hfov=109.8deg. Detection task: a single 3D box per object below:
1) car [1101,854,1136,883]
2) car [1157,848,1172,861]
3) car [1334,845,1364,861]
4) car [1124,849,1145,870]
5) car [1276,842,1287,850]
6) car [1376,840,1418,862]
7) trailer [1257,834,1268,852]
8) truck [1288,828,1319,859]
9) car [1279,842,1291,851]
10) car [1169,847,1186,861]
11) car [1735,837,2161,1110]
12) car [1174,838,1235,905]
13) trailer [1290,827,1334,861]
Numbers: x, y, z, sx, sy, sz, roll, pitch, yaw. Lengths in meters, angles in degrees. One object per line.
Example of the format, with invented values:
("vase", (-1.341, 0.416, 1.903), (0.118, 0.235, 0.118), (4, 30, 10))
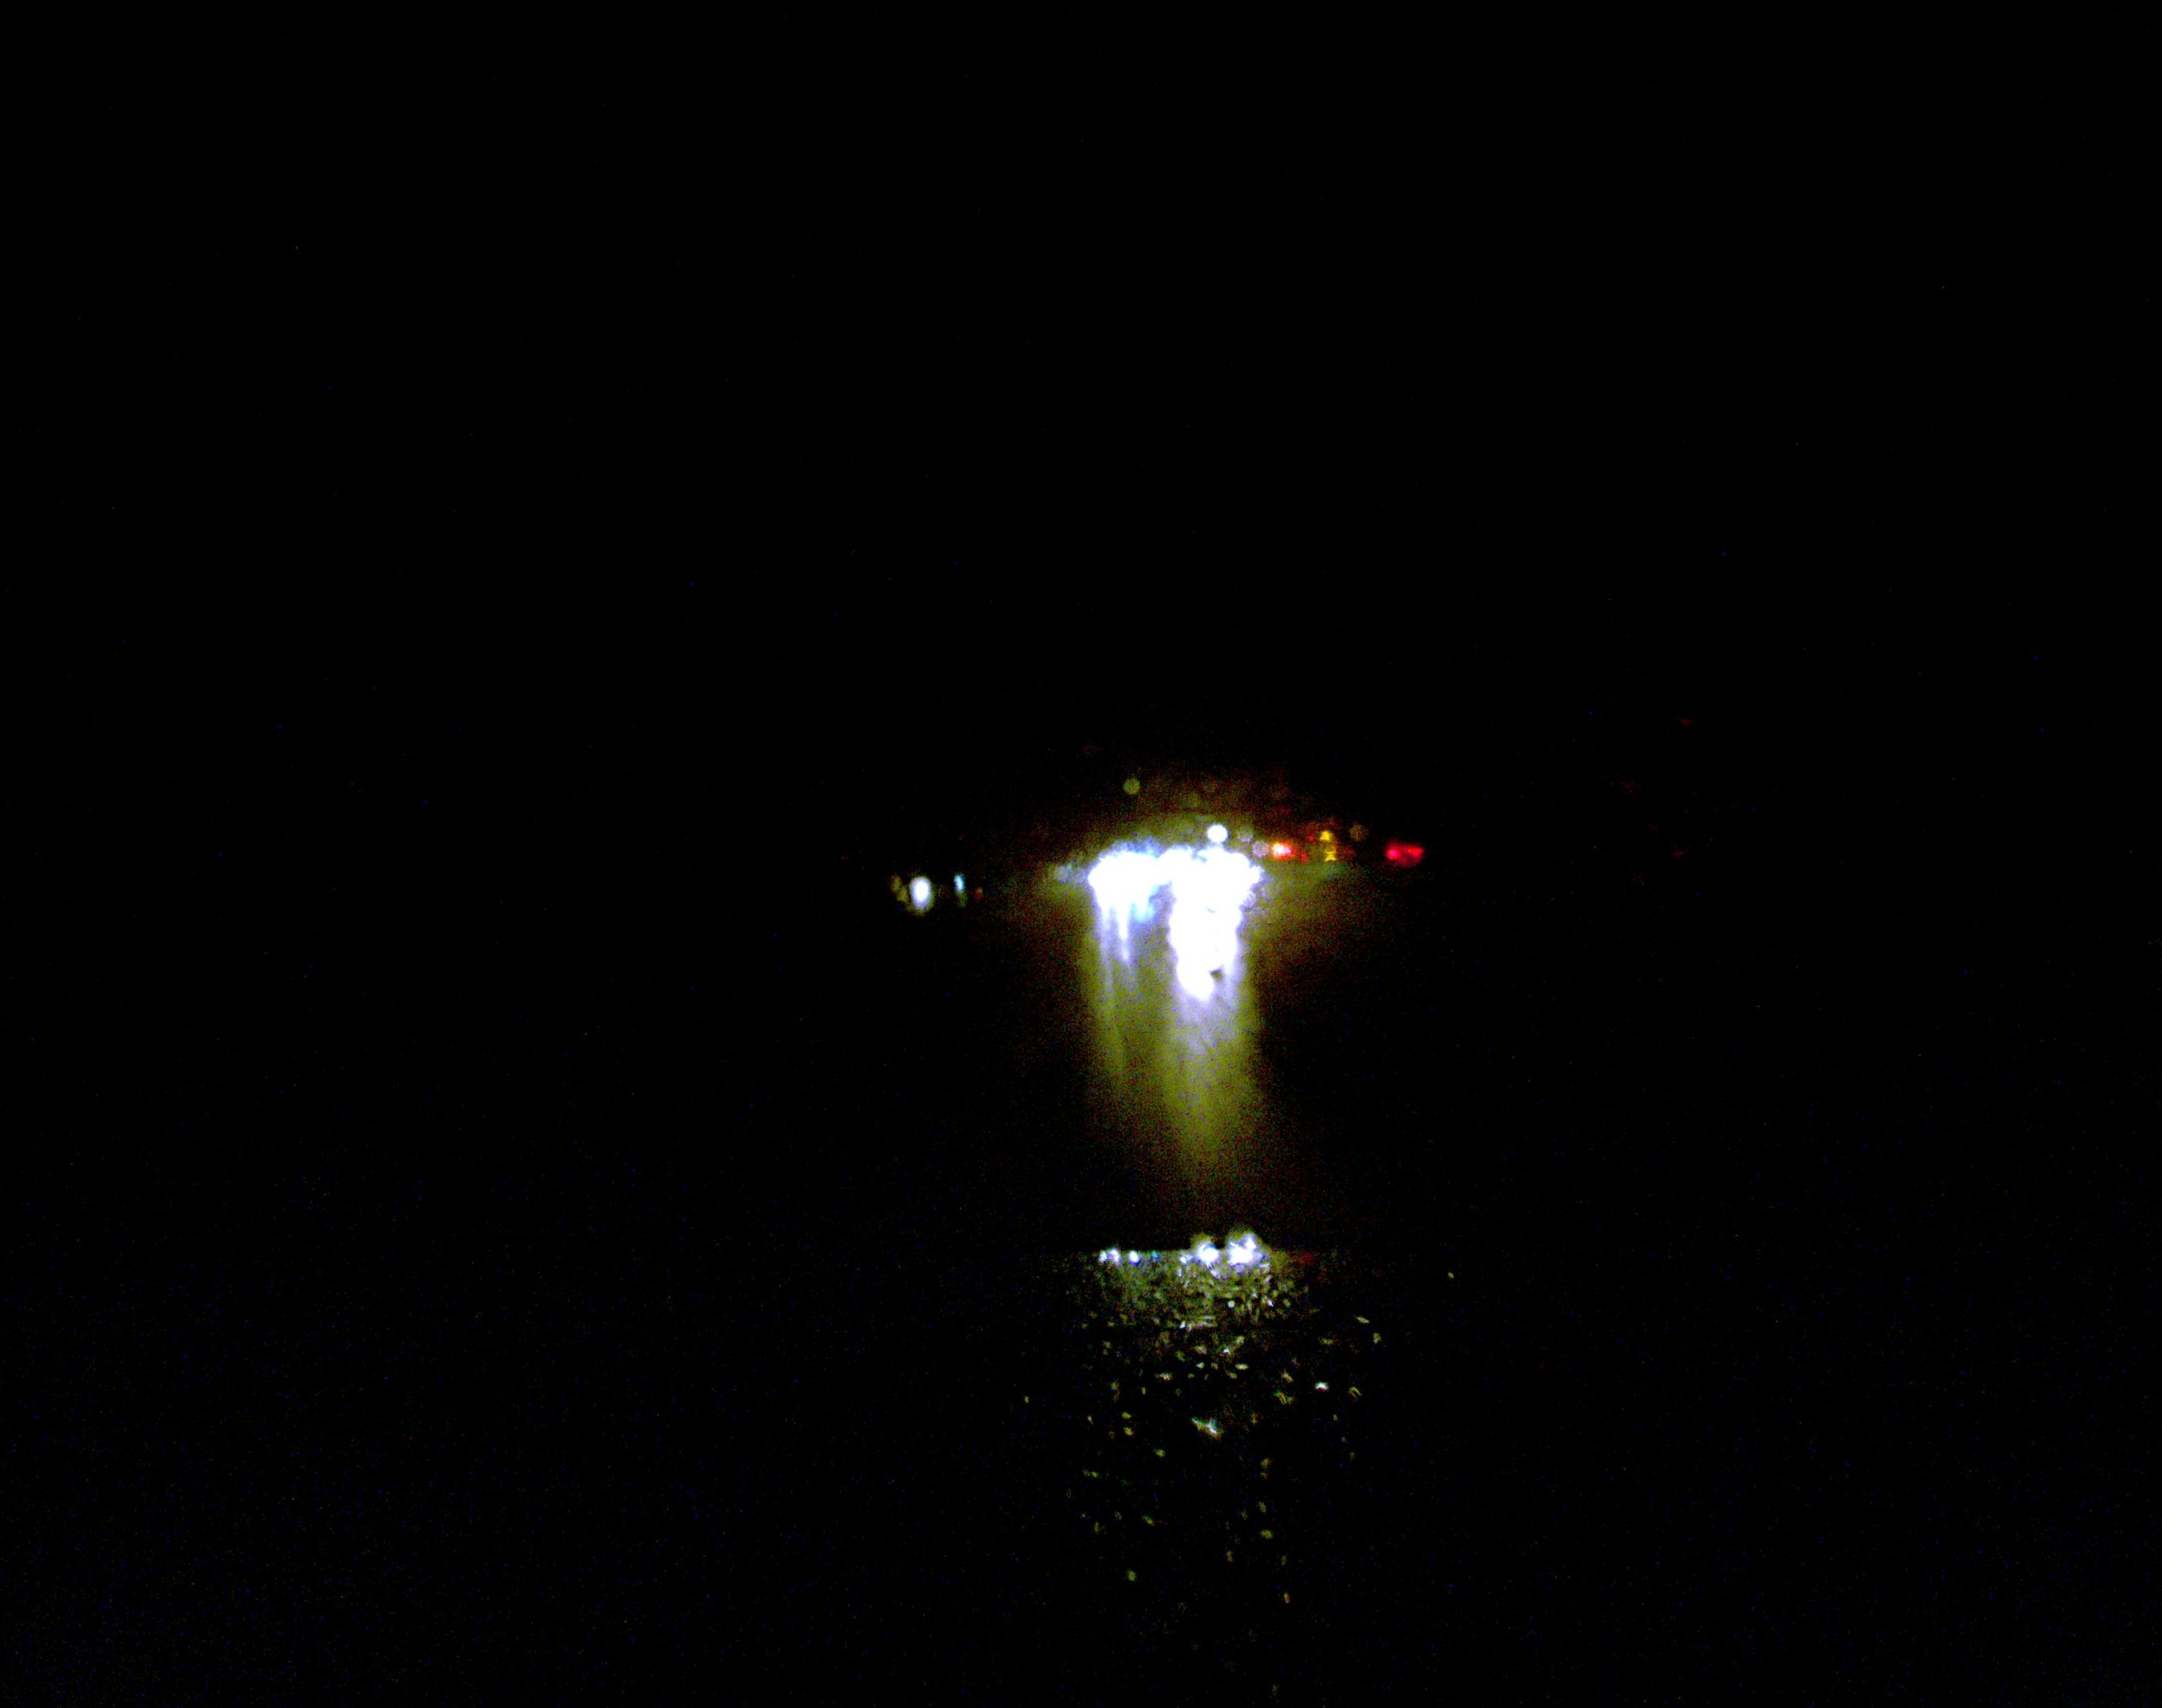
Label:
("car", (2.444, 0.908, 48.456), (1.891, 1.603, 4.001), (-3, 1, 7))
("car", (14.545, 0.126, 133.075), (1.999, 2.002, 4.000), (-4, 0, -1))
("car", (30.688, -0.113, 87.024), (1.836, 1.703, 3.998), (-3, 1, -3))
("car", (5.796, 0.590, 82.317), (1.998, 2.002, 4.000), (-4, 0, 2))
("car", (47.478, -1.869, 179.598), (1.997, 1.718, 4.002), (-3, 1, 9))
("car", (21.691, -0.255, 52.249), (1.607, 1.335, 3.243), (-4, 1, 3))
("trailer", (47.320, -2.917, 198.238), (2.579, 4.431, 12.502), (-3, 1, 13))
("truck", (25.958, -1.244, 88.866), (2.610, 3.438, 4.642), (-3, 1, 6))
("car", (42.657, -1.620, 158.800), (1.901, 1.634, 4.198), (-3, 1, 7))
("car", (15.116, 0.019, 118.822), (1.999, 2.002, 4.000), (-4, 0, -1))
("car", (7.048, 0.677, 5.306), (1.654, 1.566, 3.849), (-1, 0, 0))
("car", (4.239, 0.554, 26.649), (1.753, 2.093, 4.465), (-2, 0, 5))
("trailer", (25.444, -1.146, 84.117), (2.614, 3.453, 10.449), (-3, 1, 6))
